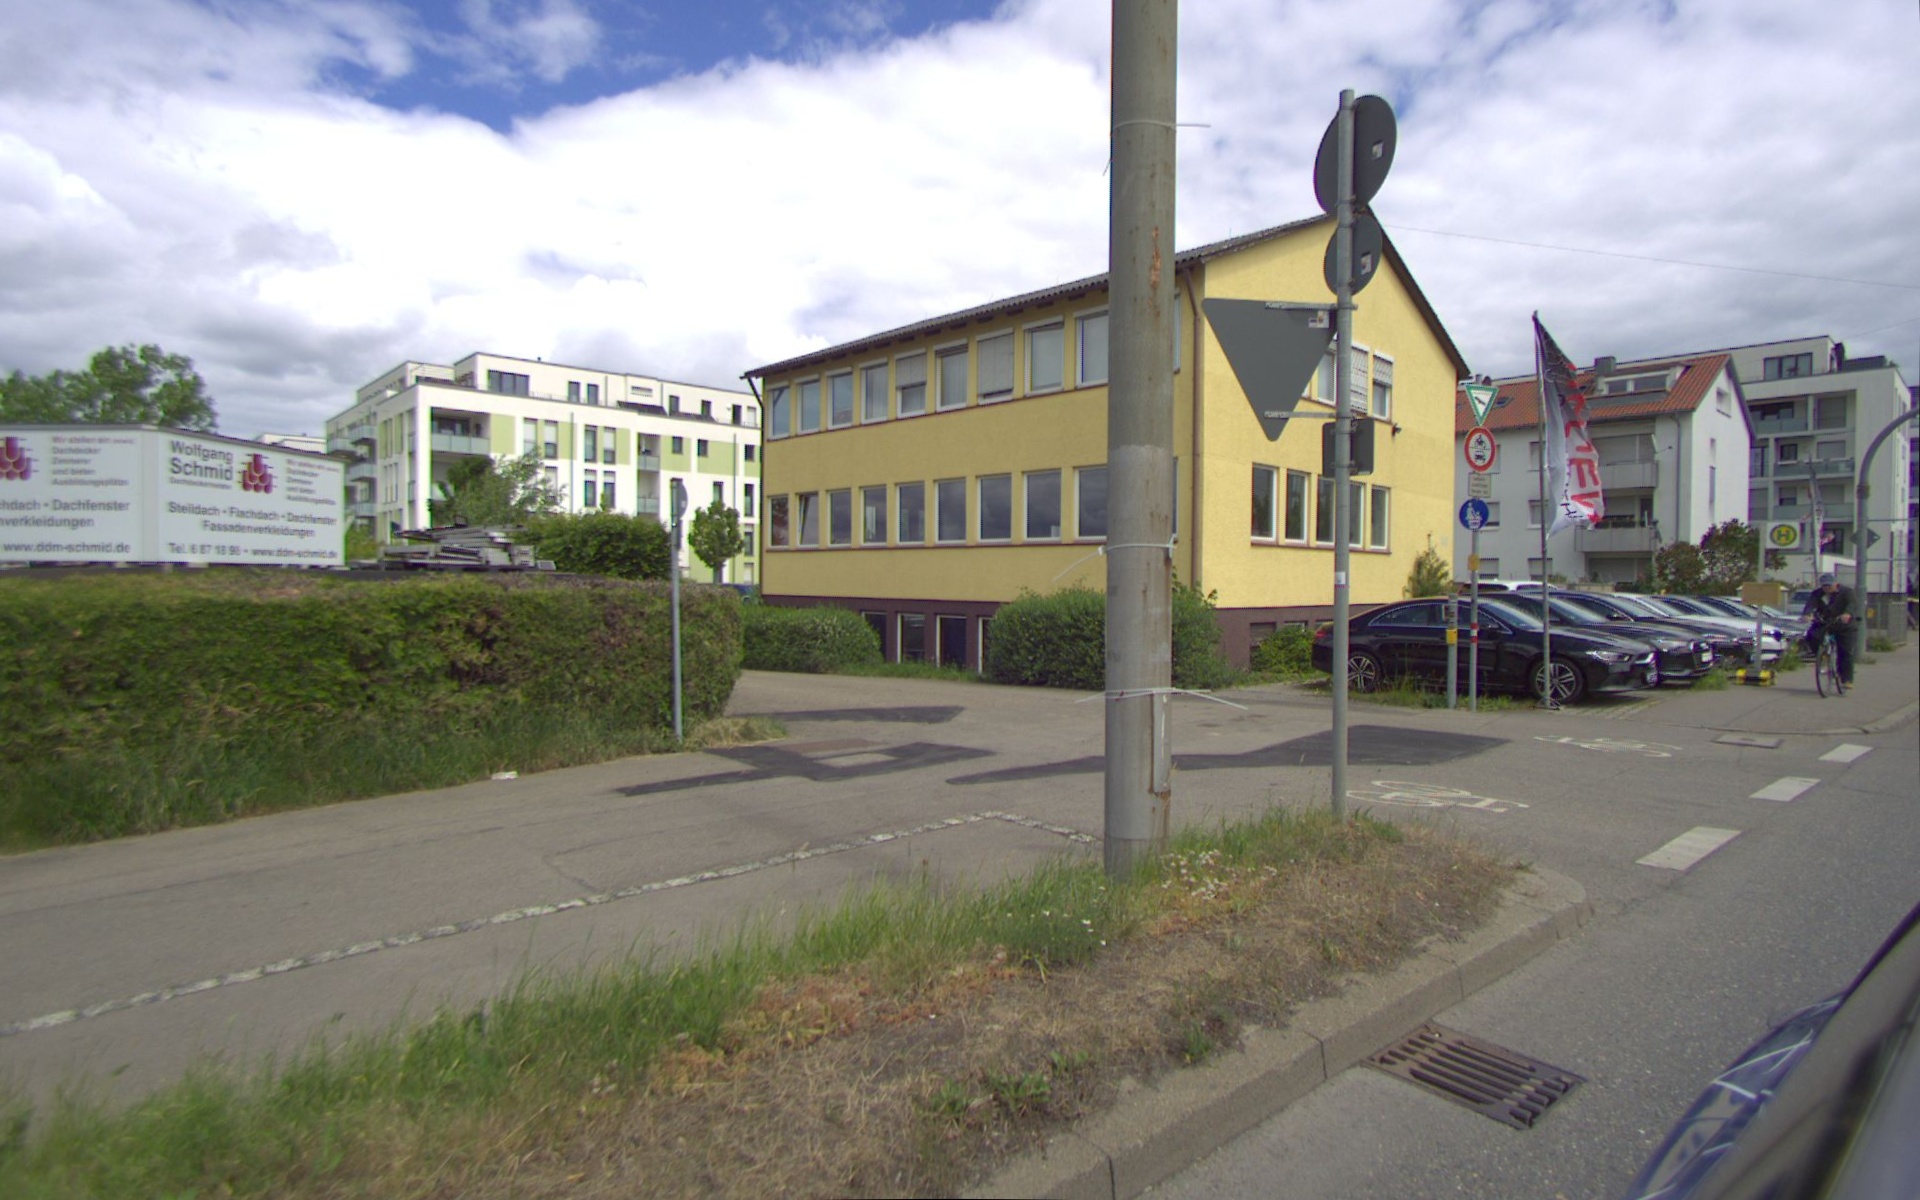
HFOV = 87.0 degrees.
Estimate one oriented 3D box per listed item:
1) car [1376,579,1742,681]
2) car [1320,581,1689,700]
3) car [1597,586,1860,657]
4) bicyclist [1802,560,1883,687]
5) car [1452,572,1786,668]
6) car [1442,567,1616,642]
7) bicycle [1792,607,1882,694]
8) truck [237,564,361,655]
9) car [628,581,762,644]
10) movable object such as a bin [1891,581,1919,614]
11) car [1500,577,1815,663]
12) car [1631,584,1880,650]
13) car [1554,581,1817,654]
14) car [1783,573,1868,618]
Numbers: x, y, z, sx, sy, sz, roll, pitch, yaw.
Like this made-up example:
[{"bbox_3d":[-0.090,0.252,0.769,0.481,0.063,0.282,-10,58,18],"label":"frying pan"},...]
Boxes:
[{"bbox_3d":[9.751,0.443,16.856,2.002,1.448,4.860,-1,0,-40],"label":"car"},{"bbox_3d":[7.780,0.521,14.760,1.971,1.416,4.325,-3,1,-43],"label":"car"},{"bbox_3d":[17.987,0.428,23.877,1.999,1.512,4.667,-1,1,-41],"label":"car"},{"bbox_3d":[12.464,0.308,14.293,0.875,1.695,0.639,0,4,-41],"label":"bicyclist"},{"bbox_3d":[11.752,0.328,18.347,1.979,1.512,4.685,-1,0,-40],"label":"car"},{"bbox_3d":[15.563,0.040,27.636,4.931,1.843,1.984,-2,2,-31],"label":"car"},{"bbox_3d":[12.374,0.674,14.258,1.943,1.076,0.639,-1,5,-41],"label":"bicycle"},{"bbox_3d":[-21.209,0.207,32.346,2.133,2.676,5.920,-2,2,-45],"label":"truck"},{"bbox_3d":[-9.042,0.399,34.633,3.928,1.956,1.998,-2,0,-38],"label":"car"},{"bbox_3d":[41.861,-0.118,44.231,1.225,1.378,1.326,-2,2,-25],"label":"movable object such as a bin"},{"bbox_3d":[13.706,0.375,20.166,1.996,1.499,4.810,-1,0,-39],"label":"car"},{"bbox_3d":[20.042,0.371,25.669,2.010,1.512,4.704,0,0,-41],"label":"car"},{"bbox_3d":[15.749,0.353,22.136,1.955,1.422,4.374,0,0,-42],"label":"car"},{"bbox_3d":[32.261,-0.202,37.667,4.445,1.564,1.878,-1,2,-43],"label":"car"}]
